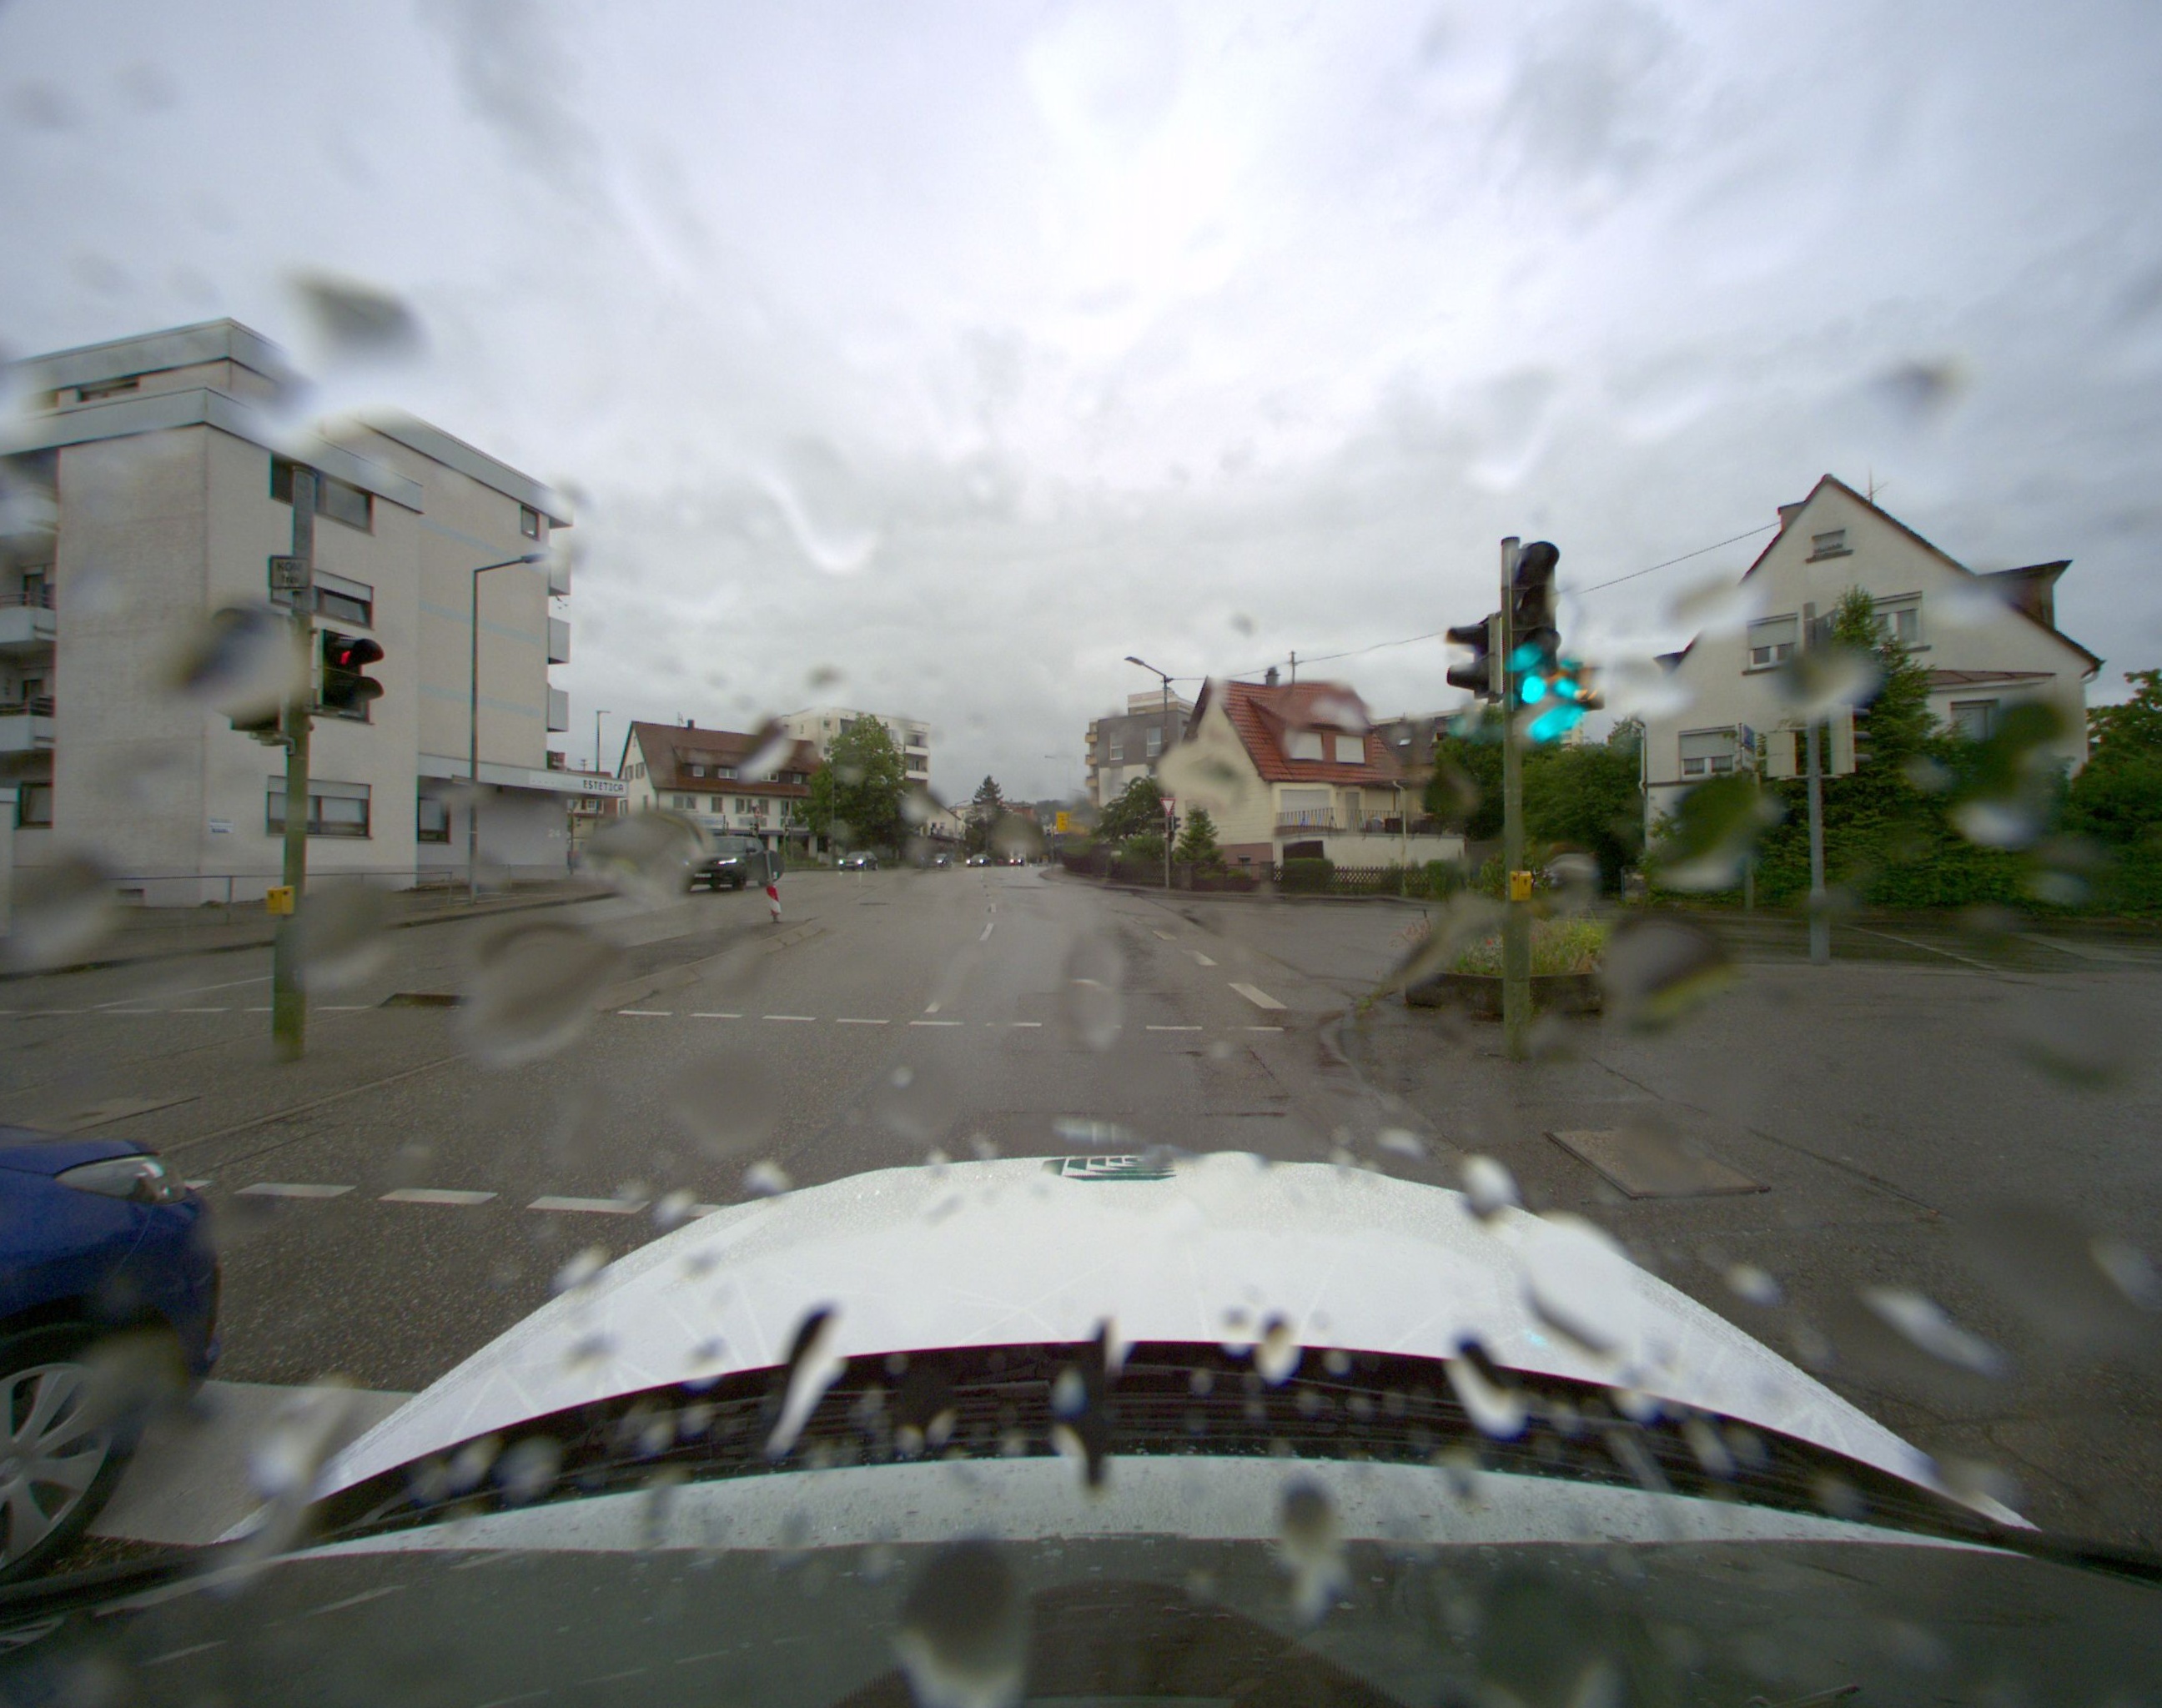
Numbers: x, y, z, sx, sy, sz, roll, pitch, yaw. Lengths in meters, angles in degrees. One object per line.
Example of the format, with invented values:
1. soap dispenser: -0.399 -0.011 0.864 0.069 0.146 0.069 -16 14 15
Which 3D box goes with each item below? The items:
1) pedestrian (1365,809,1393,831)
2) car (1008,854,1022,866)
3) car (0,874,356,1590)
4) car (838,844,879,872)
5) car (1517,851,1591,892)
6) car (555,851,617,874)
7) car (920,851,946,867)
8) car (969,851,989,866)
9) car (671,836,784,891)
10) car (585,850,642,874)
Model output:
1. pedestrian: 12.769 -1.437 34.869 0.918 0.883 0.632 0 -3 -18
2. car: -9.991 0.925 122.945 1.989 1.812 3.996 0 -1 -3
3. car: -2.951 0.778 0.737 1.499 1.413 3.365 0 0 2
4. car: -15.617 0.261 57.379 1.989 1.904 3.996 0 -1 -3
5. car: 17.110 0.595 29.384 1.794 1.362 4.025 -1 -1 37
6. car: -41.220 0.668 67.810 4.093 1.843 1.864 0 -1 -44
7. car: -14.162 0.483 78.145 1.989 1.463 3.996 0 0 -3
8. car: -11.337 0.481 90.702 1.989 1.679 3.996 0 -1 -3
9. car: -12.120 0.323 28.321 1.990 1.737 5.173 0 0 -4
10. car: -38.446 0.629 66.988 3.706 1.920 1.864 0 -1 -44
